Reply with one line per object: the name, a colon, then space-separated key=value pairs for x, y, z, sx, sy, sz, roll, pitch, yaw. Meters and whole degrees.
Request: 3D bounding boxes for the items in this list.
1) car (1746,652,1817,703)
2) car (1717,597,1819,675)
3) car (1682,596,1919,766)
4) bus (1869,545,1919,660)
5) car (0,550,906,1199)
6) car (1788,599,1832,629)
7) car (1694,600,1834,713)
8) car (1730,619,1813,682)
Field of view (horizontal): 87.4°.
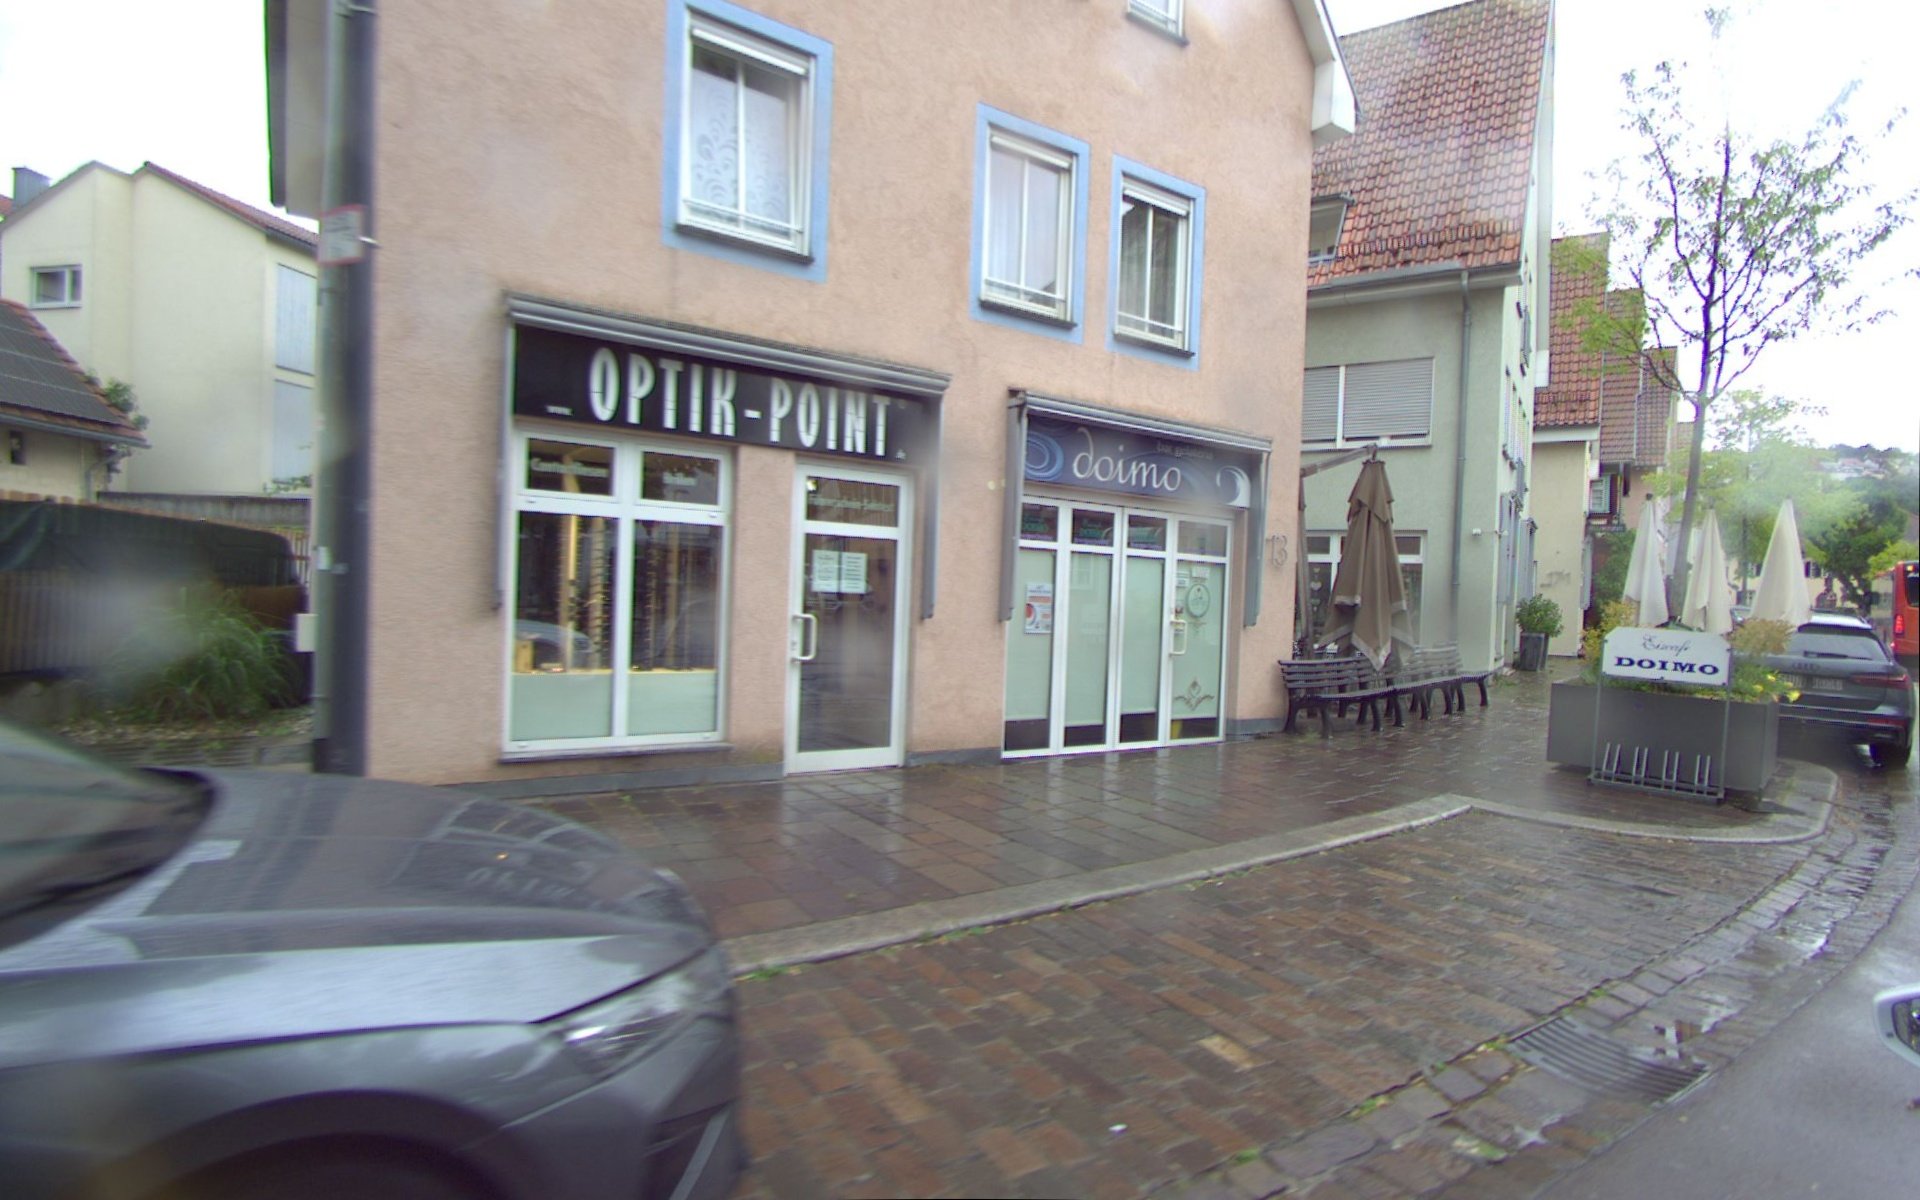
car: x=29.167 y=2.709 z=35.736 sx=1.811 sy=1.572 sz=4.263 roll=2 pitch=-1 yaw=39
car: x=20.122 y=0.877 z=24.936 sx=1.751 sy=1.697 sz=4.457 roll=4 pitch=1 yaw=41
car: x=9.468 y=0.732 z=11.534 sx=1.777 sy=1.452 sz=4.612 roll=4 pitch=3 yaw=35
bus: x=29.945 y=0.183 z=30.826 sx=2.609 sy=3.270 sz=6.573 roll=2 pitch=-1 yaw=39
car: x=-2.468 y=0.635 z=1.623 sx=4.325 sy=1.474 sz=1.983 roll=2 pitch=-1 yaw=-32
car: x=60.674 y=1.022 z=71.771 sx=1.967 sy=2.040 sz=3.988 roll=2 pitch=-1 yaw=35
car: x=13.070 y=0.860 z=16.264 sx=1.574 sy=1.566 sz=3.957 roll=2 pitch=-1 yaw=41
car: x=24.658 y=1.500 z=30.570 sx=1.811 sy=1.697 sz=4.521 roll=2 pitch=-1 yaw=39
